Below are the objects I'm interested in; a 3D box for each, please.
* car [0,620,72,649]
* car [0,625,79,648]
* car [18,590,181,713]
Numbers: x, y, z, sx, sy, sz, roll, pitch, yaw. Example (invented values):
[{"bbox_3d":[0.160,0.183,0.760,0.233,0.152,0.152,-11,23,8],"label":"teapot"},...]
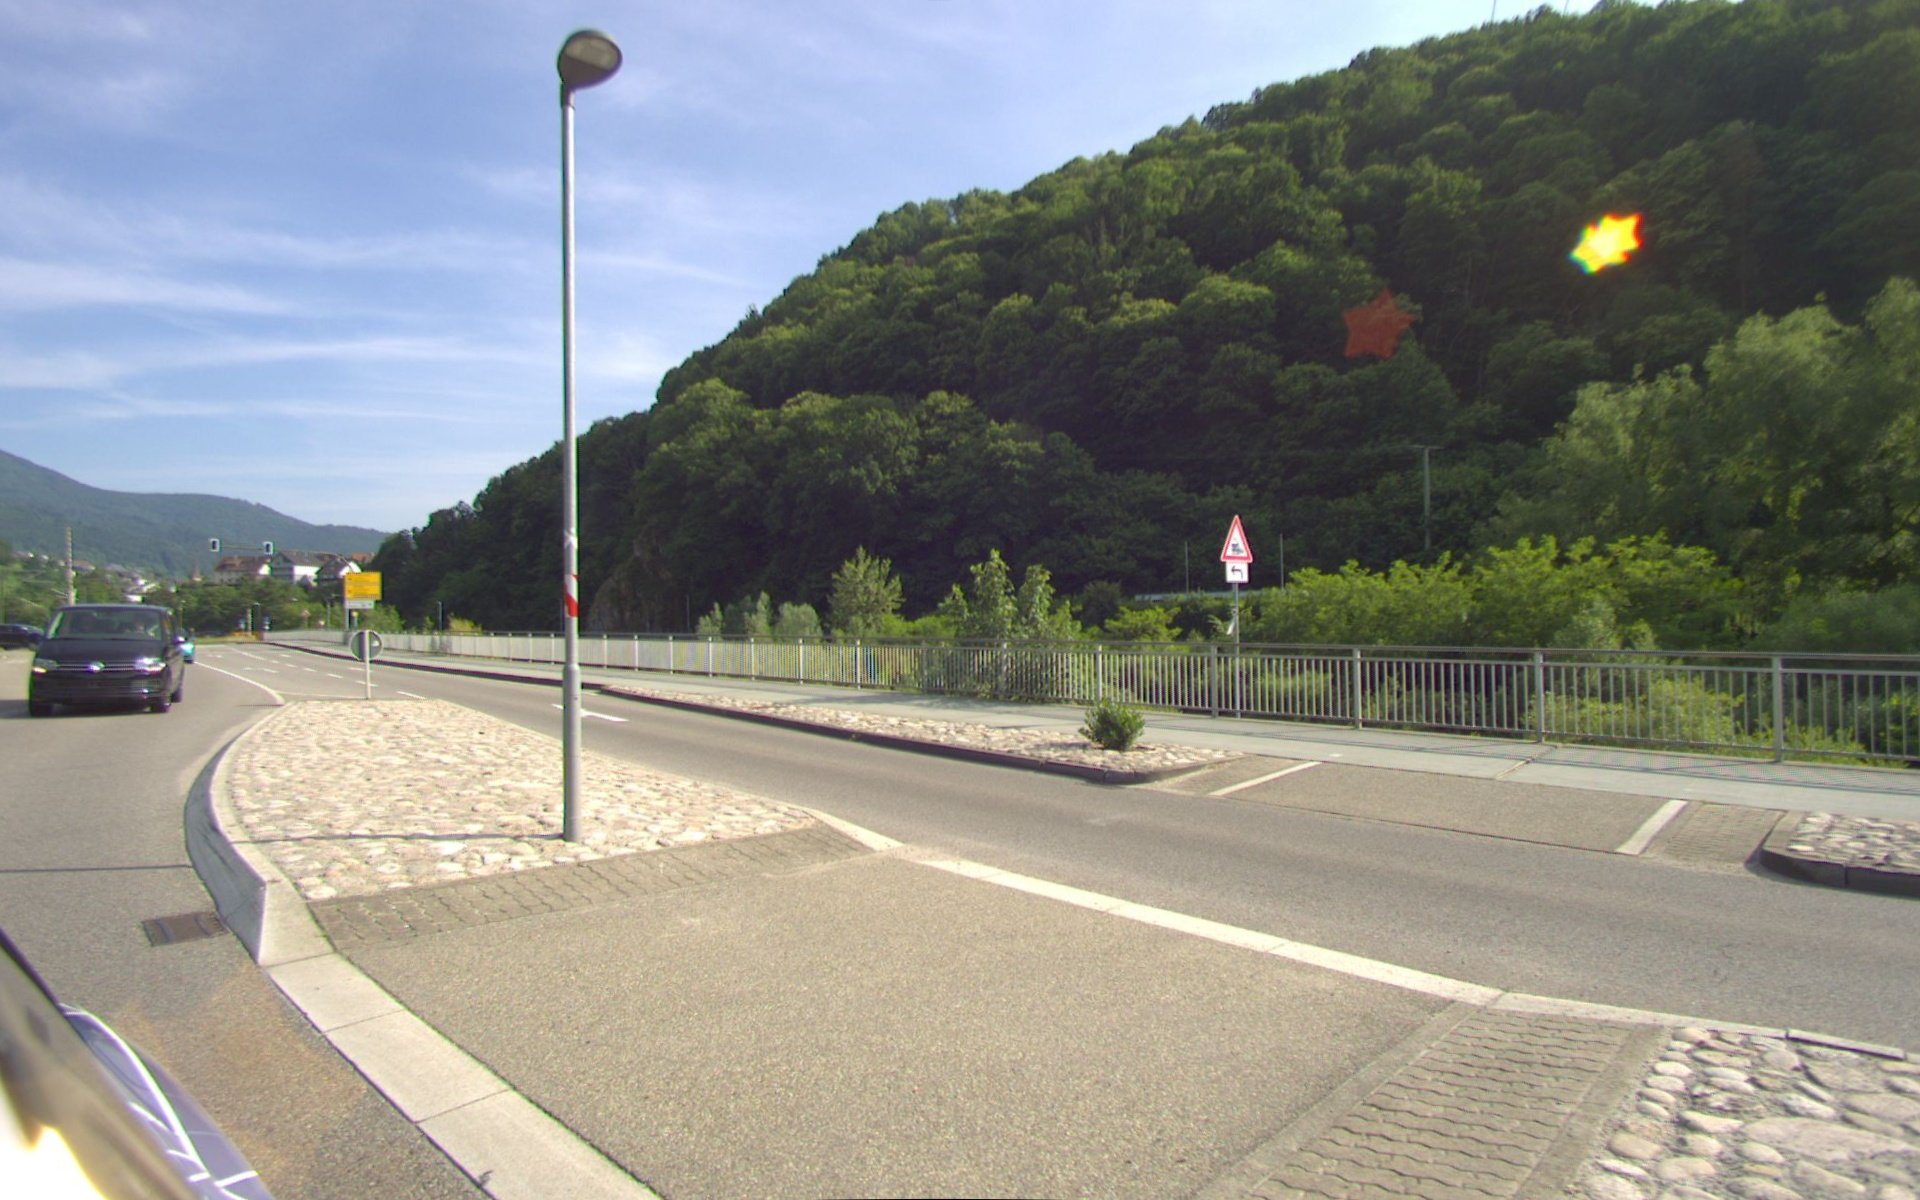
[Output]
[{"bbox_3d":[-58.135,2.143,62.456,4.667,1.672,1.933,1,-6,-7],"label":"car"},{"bbox_3d":[-62.123,2.431,67.638,4.663,1.481,1.846,3,-3,-36],"label":"car"},{"bbox_3d":[-15.642,0.906,18.627,1.836,1.962,4.649,3,-3,-36],"label":"car"}]
